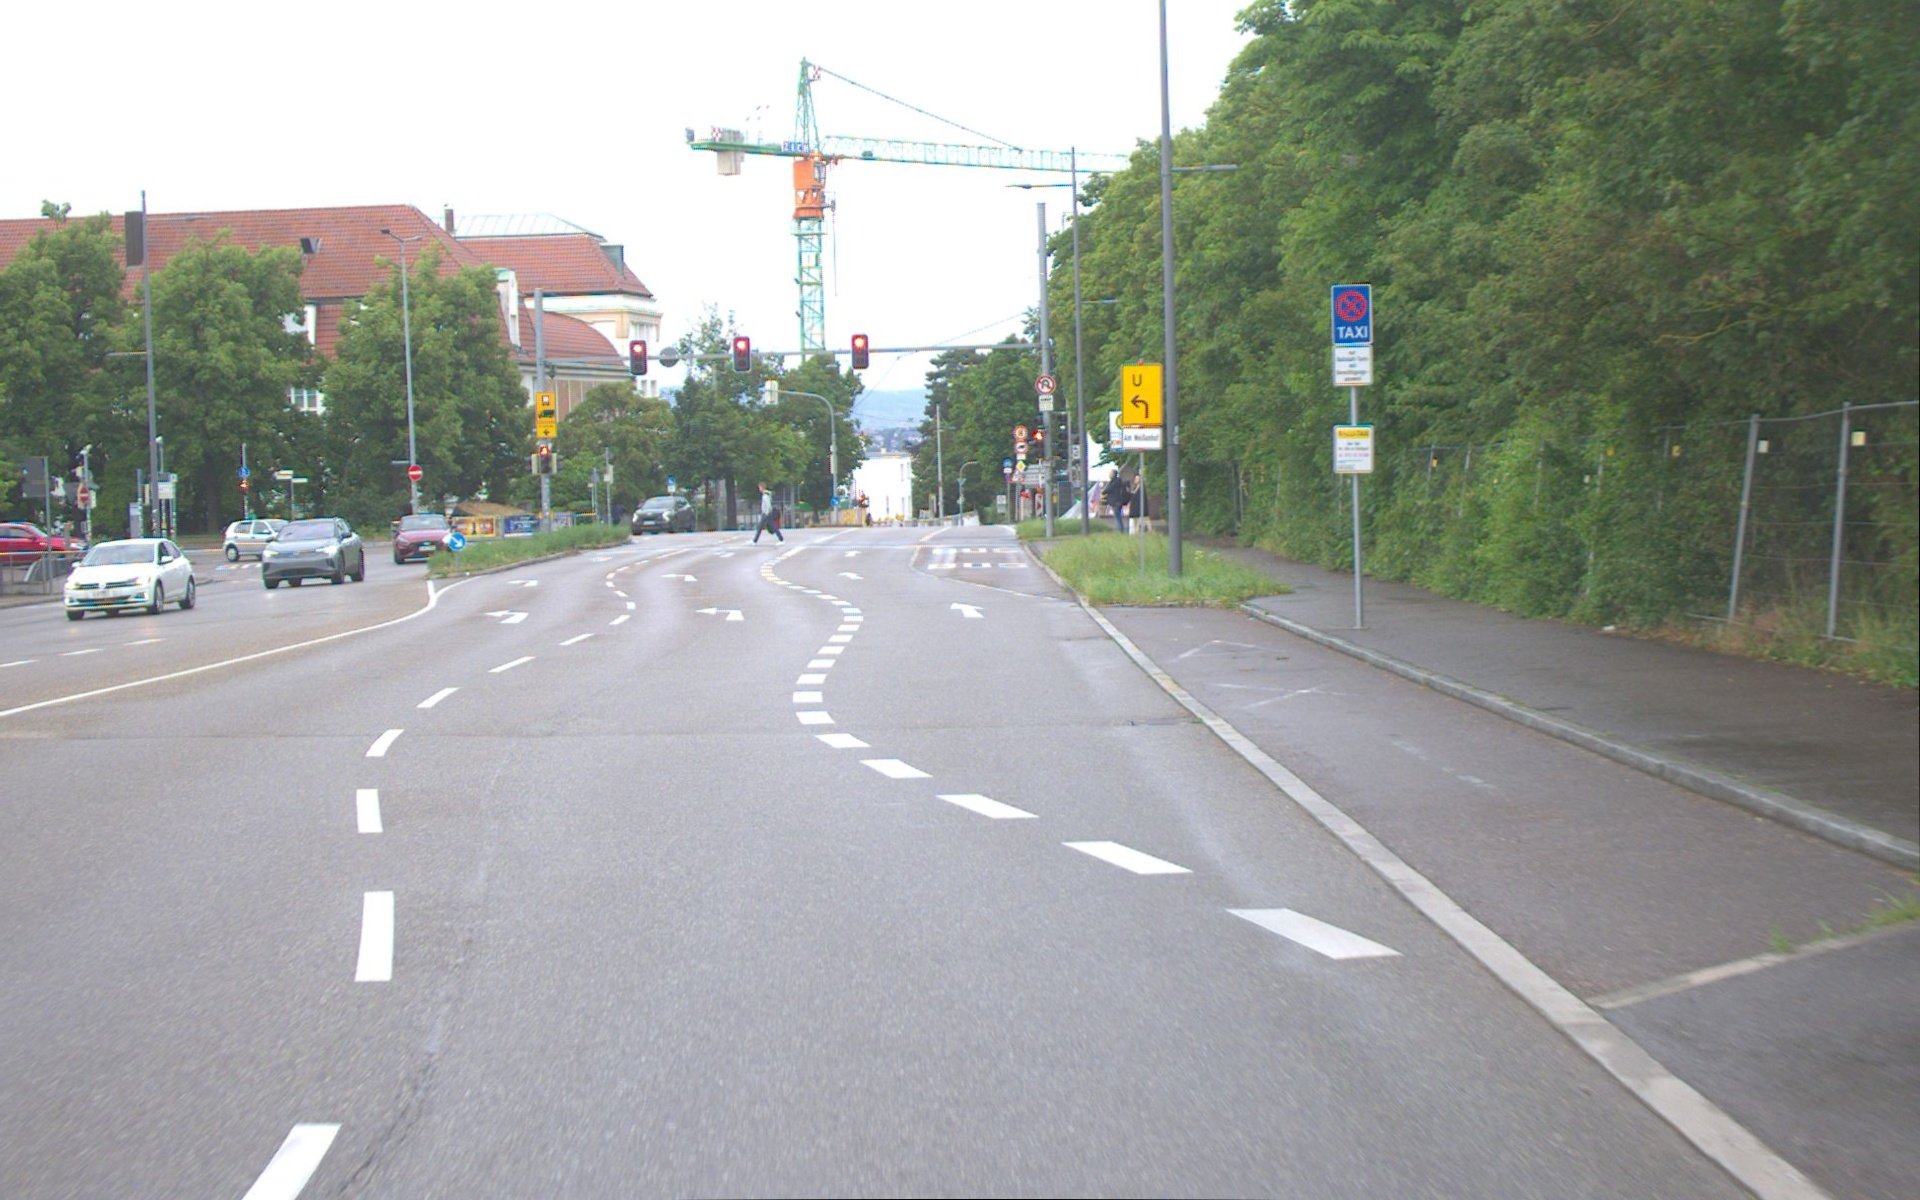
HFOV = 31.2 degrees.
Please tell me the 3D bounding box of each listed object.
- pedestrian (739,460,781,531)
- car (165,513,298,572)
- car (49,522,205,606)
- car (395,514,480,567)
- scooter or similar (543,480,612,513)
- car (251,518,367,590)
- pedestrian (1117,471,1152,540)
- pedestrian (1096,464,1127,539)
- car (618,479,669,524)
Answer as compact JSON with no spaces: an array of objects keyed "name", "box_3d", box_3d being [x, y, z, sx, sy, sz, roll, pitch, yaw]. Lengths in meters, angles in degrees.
[{"name":"pedestrian","box_3d":[-5.847,-3.064,100.642,0.940,2.006,0.847,-4,2,6]},{"name":"car","box_3d":[-24.969,-1.977,117.861,3.991,1.910,1.998,-1,1,23]},{"name":"car","box_3d":[-15.851,-0.694,65.591,1.873,1.425,4.176,-4,1,0]},{"name":"car","box_3d":[-15.882,-1.821,104.658,1.832,1.411,4.466,-4,2,0]},{"name":"scooter or similar","box_3d":[-17.896,-4.859,160.842,3.087,1.435,0.949,-2,2,-1]},{"name":"car","box_3d":[-15.796,-1.122,83.639,1.832,1.567,4.594,-4,1,0]},{"name":"pedestrian","box_3d":[4.237,-2.302,83.561,0.675,1.652,0.793,-2,2,-5]},{"name":"pedestrian","box_3d":[3.879,-2.522,88.036,0.640,1.894,0.718,-2,2,-5]},{"name":"car","box_3d":[-13.565,-4.226,147.504,1.993,1.831,4.000,0,0,-2]}]
